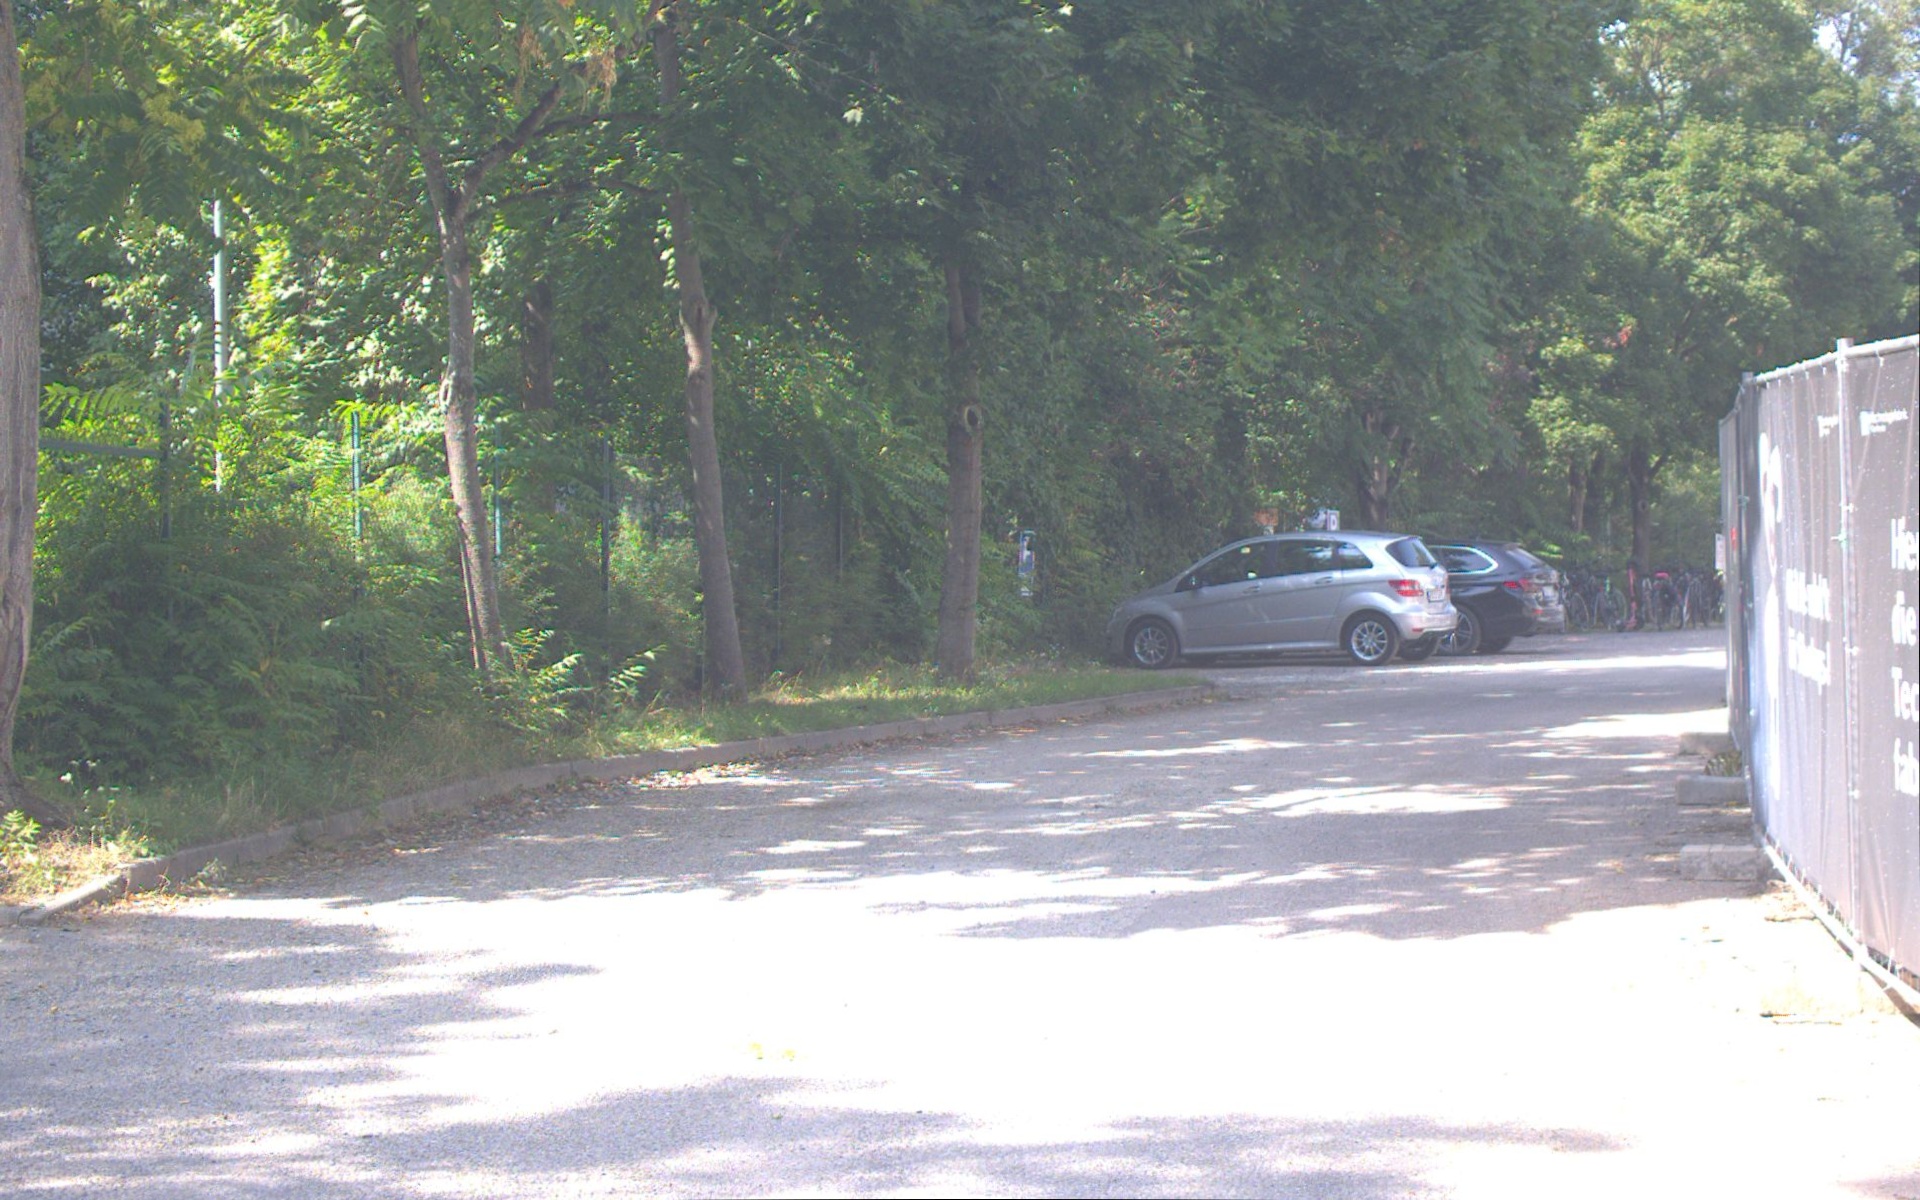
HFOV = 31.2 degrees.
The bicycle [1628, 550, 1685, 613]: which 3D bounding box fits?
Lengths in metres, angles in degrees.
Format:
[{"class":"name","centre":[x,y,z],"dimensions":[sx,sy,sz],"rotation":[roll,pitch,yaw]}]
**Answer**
[{"class":"bicycle","centre":[12.557,-0.341,61.959],"dimensions":[0.499,1.104,1.797],"rotation":[0,1,29]}]

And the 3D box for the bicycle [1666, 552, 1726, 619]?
[{"class":"bicycle","centre":[12.476,-0.252,58.223],"dimensions":[0.499,1.104,1.797],"rotation":[0,1,29]}]

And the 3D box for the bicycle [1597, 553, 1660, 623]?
[{"class":"bicycle","centre":[10.976,-0.204,56.422],"dimensions":[0.499,1.104,1.797],"rotation":[0,1,29]}]

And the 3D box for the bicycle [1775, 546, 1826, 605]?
[{"class":"bicycle","centre":[16.116,-0.474,65.889],"dimensions":[0.499,1.104,1.797],"rotation":[0,1,29]}]

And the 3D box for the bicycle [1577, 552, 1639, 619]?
[{"class":"bicycle","centre":[11.028,-0.253,58.440],"dimensions":[0.499,1.104,1.797],"rotation":[0,1,29]}]

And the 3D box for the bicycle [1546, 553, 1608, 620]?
[{"class":"bicycle","centre":[10.528,-0.241,58.651],"dimensions":[0.499,1.104,1.797],"rotation":[0,1,29]}]

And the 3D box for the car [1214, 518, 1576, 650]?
[{"class":"car","centre":[5.530,-0.226,43.699],"dimensions":[4.153,1.607,1.997],"rotation":[0,1,25]}]

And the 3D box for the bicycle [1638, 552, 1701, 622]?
[{"class":"bicycle","centre":[11.512,-0.224,55.764],"dimensions":[0.499,1.104,1.797],"rotation":[0,1,29]}]

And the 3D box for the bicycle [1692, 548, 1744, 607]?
[{"class":"bicycle","centre":[14.595,-0.437,66.155],"dimensions":[0.499,1.104,1.797],"rotation":[0,1,29]}]

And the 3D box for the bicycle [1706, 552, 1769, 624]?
[{"class":"bicycle","centre":[12.359,-0.201,54.597],"dimensions":[0.499,1.104,1.797],"rotation":[0,1,29]}]

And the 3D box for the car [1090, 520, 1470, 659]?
[{"class":"car","centre":[3.877,-0.145,41.609],"dimensions":[4.153,1.607,1.997],"rotation":[0,1,25]}]

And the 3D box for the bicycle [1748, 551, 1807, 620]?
[{"class":"bicycle","centre":[13.597,-0.246,57.139],"dimensions":[0.499,1.104,1.797],"rotation":[0,1,29]}]

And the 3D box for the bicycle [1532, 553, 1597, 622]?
[{"class":"bicycle","centre":[9.951,-0.207,56.583],"dimensions":[0.499,1.104,1.797],"rotation":[0,1,29]}]

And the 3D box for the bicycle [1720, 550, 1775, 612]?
[{"class":"bicycle","centre":[14.420,-0.363,62.916],"dimensions":[0.499,1.104,1.797],"rotation":[0,1,29]}]
